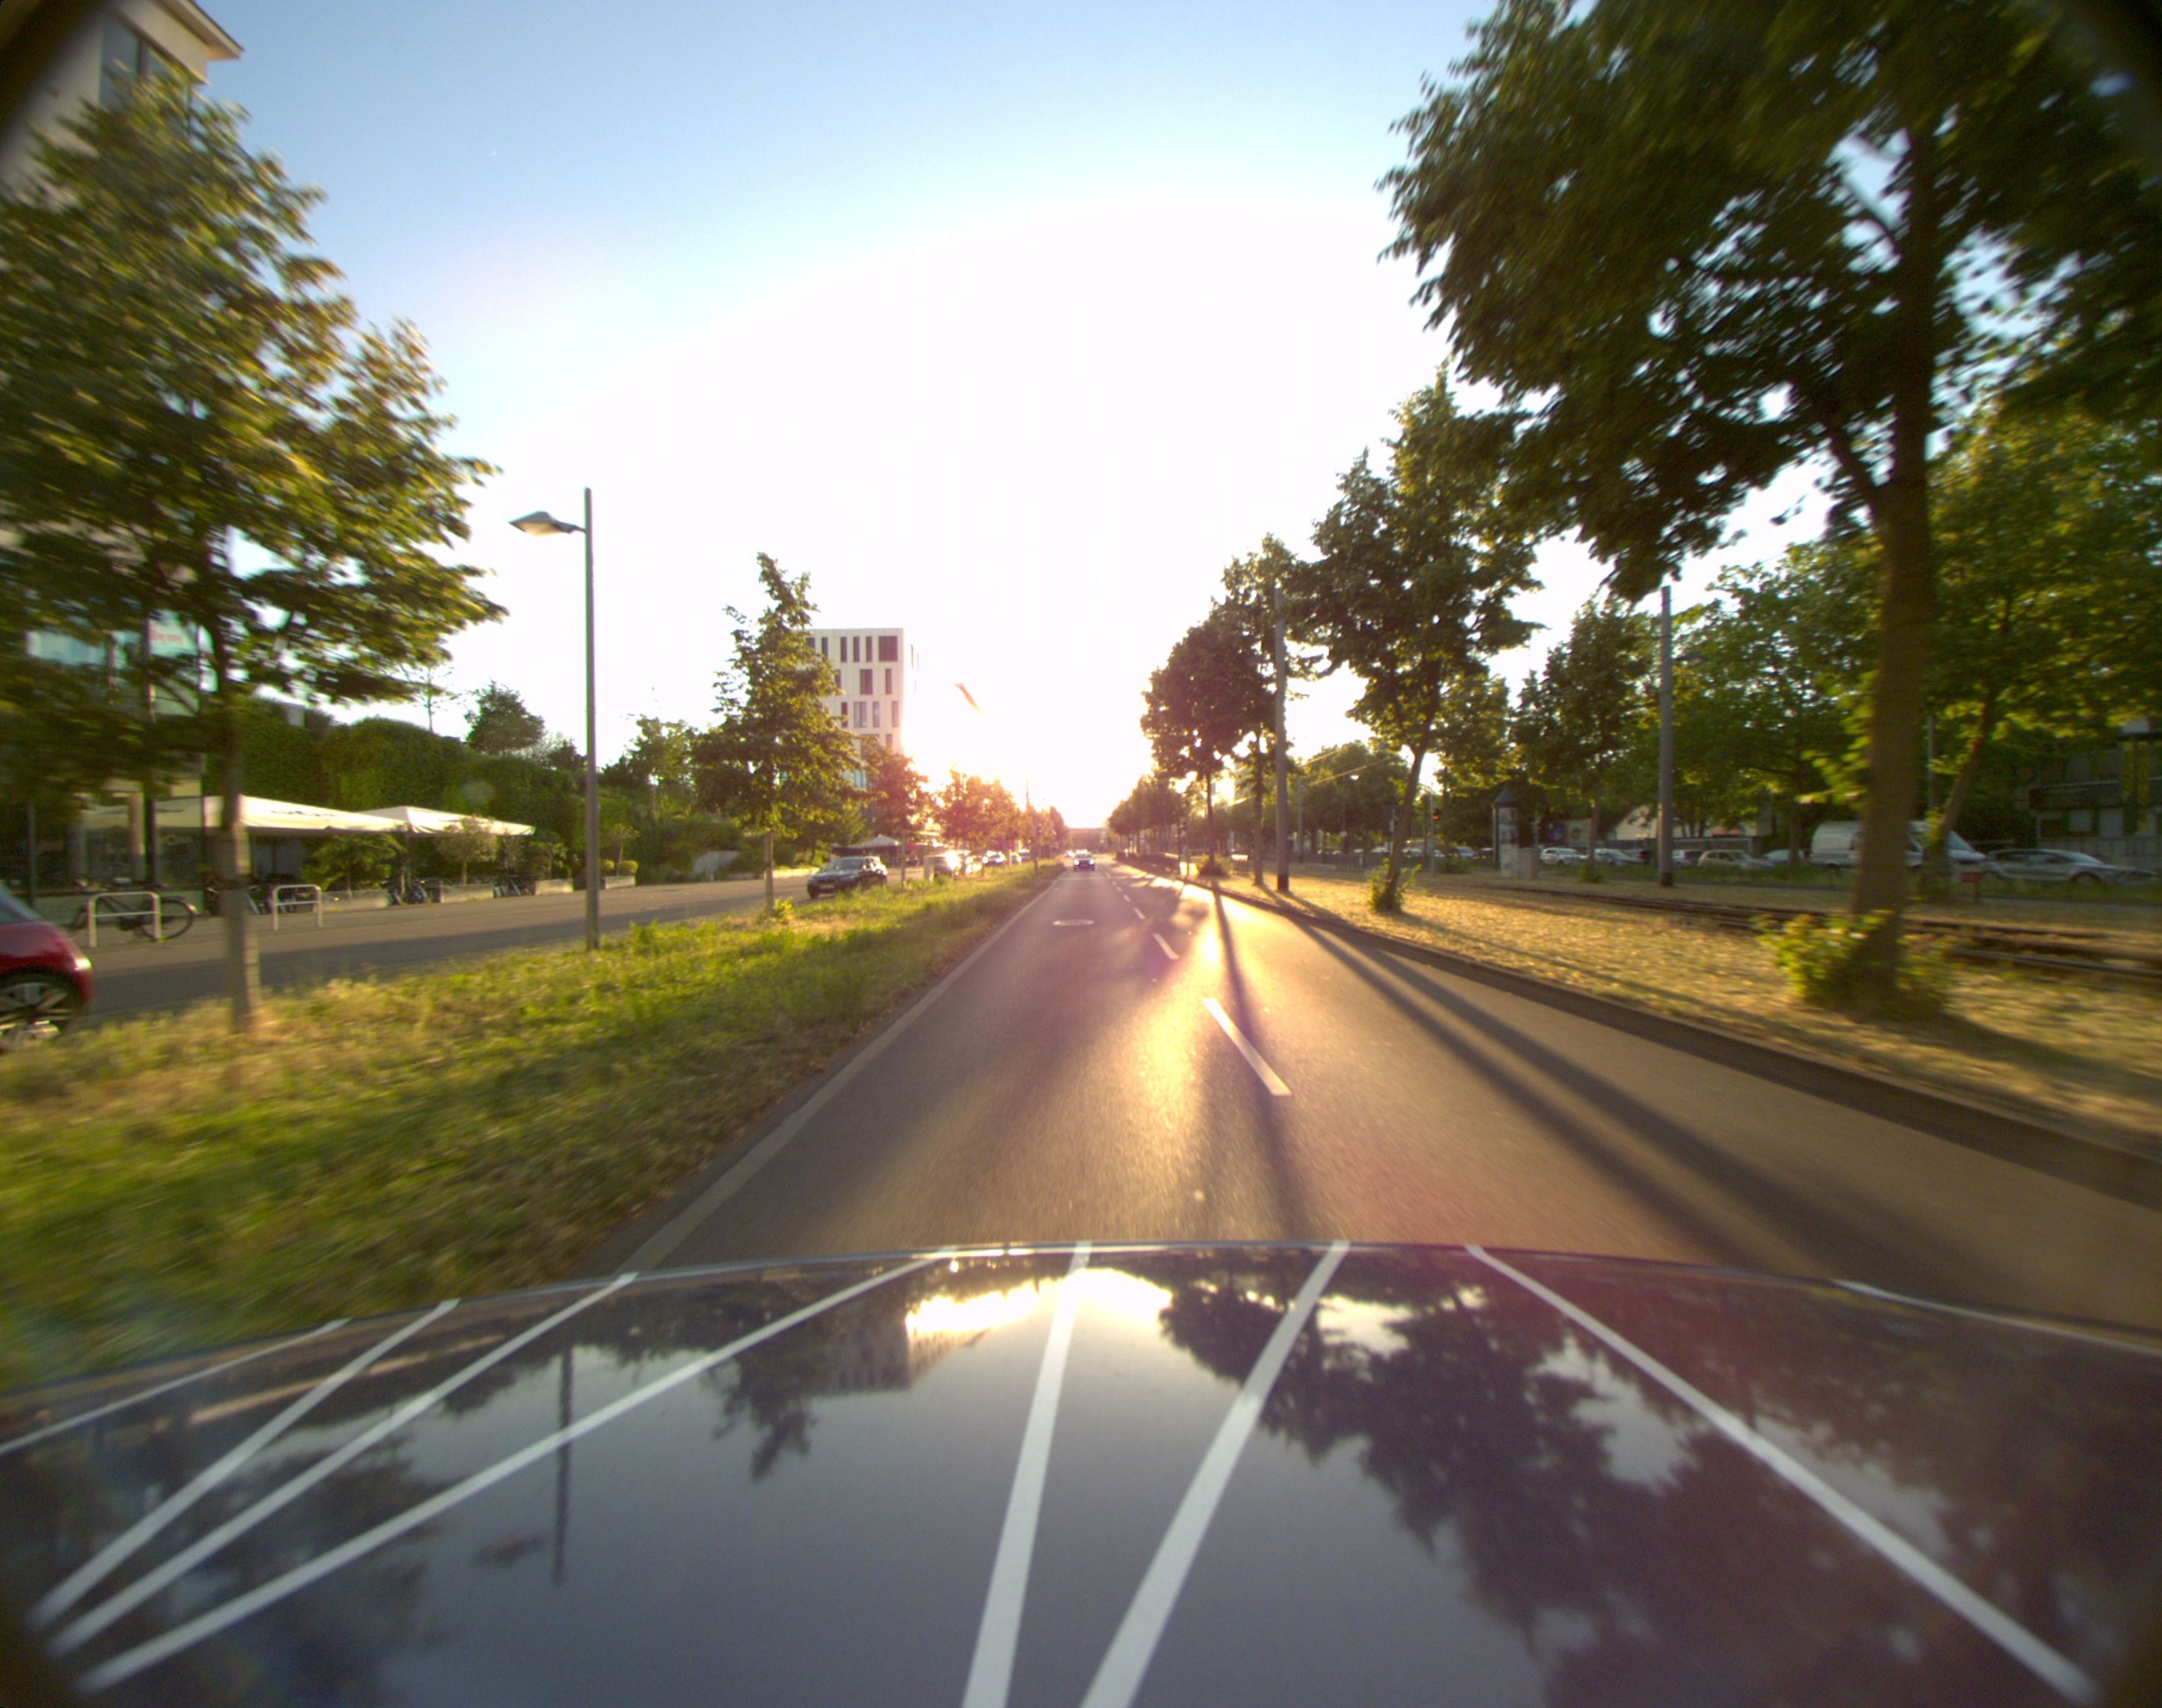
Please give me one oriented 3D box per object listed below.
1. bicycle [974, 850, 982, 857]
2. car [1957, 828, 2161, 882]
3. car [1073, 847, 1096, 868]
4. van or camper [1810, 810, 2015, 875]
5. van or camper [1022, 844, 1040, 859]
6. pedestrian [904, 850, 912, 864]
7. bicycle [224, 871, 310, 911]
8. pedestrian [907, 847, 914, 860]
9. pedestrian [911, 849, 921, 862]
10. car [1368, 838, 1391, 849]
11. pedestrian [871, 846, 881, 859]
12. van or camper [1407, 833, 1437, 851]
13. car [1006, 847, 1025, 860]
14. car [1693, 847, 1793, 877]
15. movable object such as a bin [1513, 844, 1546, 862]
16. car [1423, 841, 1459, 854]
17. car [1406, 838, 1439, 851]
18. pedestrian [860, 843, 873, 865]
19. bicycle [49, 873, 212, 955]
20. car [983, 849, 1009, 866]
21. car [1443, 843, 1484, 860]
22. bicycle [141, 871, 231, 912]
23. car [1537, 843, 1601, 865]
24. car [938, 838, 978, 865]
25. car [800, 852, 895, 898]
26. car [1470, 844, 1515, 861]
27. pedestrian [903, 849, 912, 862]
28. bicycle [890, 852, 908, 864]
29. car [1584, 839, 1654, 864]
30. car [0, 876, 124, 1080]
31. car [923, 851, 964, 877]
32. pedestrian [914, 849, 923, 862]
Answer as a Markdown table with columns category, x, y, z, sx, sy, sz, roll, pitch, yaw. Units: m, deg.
| category | x | y | z | sx | sy | sz | roll | pitch | yaw |
| --- | --- | --- | --- | --- | --- | --- | --- | --- | --- |
| bicycle | -14.589 | -0.087 | 107.705 | 0.530 | 1.035 | 1.919 | 1 | 0 | 12 |
| car | 32.610 | -0.007 | 25.281 | 1.999 | 1.627 | 4.208 | 0 | 1 | -1 |
| car | 0.296 | 0.238 | 61.844 | 1.828 | 1.625 | 3.999 | -1 | 1 | 0 |
| van or camper | 33.314 | -0.459 | 30.803 | 2.289 | 2.351 | 5.784 | -1 | 1 | 5 |
| van or camper | -6.903 | -0.318 | 105.355 | 1.963 | 1.908 | 4.829 | -2 | 1 | 1 |
| pedestrian | -17.515 | 0.329 | 77.118 | 0.745 | 1.360 | 0.770 | -1 | 1 | -11 |
| bicycle | -22.950 | 1.039 | 21.440 | 1.799 | 1.101 | 0.500 | -1 | 1 | -3 |
| pedestrian | -17.710 | -0.029 | 78.889 | 0.685 | 1.283 | 0.628 | 1 | 1 | -12 |
| pedestrian | -16.869 | 0.142 | 77.883 | 0.782 | 1.283 | 0.685 | 2 | 1 | 7 |
| car | 41.790 | -1.445 | 106.456 | 1.998 | 1.521 | 4.001 | -1 | 1 | 5 |
| pedestrian | -20.647 | -0.178 | 76.530 | 0.745 | 1.258 | 0.770 | -1 | 1 | 1 |
| van or camper | 49.187 | -1.742 | 109.798 | 2.396 | 2.548 | 5.635 | 0 | 1 | 7 |
| car | -7.513 | -0.065 | 87.875 | 1.813 | 1.492 | 4.478 | -1 | 1 | 0 |
| car | 36.096 | 0.396 | 41.605 | 1.998 | 1.492 | 4.098 | -1 | 1 | 2 |
| movable object such as a bin | 34.940 | -0.123 | 59.228 | 1.556 | 1.364 | 1.724 | -1 | 1 | 2 |
| car | 37.278 | -0.677 | 78.756 | 1.998 | 1.194 | 4.089 | -1 | 1 | 2 |
| car | 37.593 | -1.066 | 83.682 | 1.998 | 1.400 | 4.000 | -1 | 1 | 3 |
| pedestrian | -16.448 | 0.023 | 58.345 | 0.696 | 1.645 | 1.078 | -1 | 1 | 0 |
| bicycle | -15.831 | 0.962 | 12.732 | 0.618 | 1.224 | 1.670 | -1 | 1 | -1 |
| car | -8.118 | 0.288 | 73.189 | 1.924 | 1.492 | 5.410 | -1 | 1 | 0 |
| car | 36.803 | -0.285 | 73.210 | 1.998 | 1.576 | 4.297 | -1 | 1 | 2 |
| bicycle | -24.957 | 1.031 | 21.201 | 1.799 | 1.101 | 0.500 | -1 | 1 | -3 |
| car | 35.213 | -0.030 | 54.966 | 1.998 | 1.492 | 4.299 | -1 | 1 | 2 |
| car | -8.197 | -0.176 | 50.916 | 1.813 | 1.622 | 4.675 | -5 | 1 | 0 |
| car | -8.404 | 0.706 | 27.751 | 1.812 | 1.492 | 4.369 | -1 | 1 | 4 |
| car | 36.334 | -0.143 | 67.176 | 1.998 | 1.440 | 4.000 | -1 | 1 | 2 |
| pedestrian | -17.828 | 0.132 | 78.060 | 0.664 | 1.283 | 0.683 | 1 | 1 | -32 |
| bicycle | -15.859 | 0.349 | 66.183 | 0.544 | 1.037 | 1.915 | 0 | 1 | 20 |
| car | 34.643 | -0.175 | 49.061 | 1.814 | 1.522 | 4.053 | -1 | 1 | 2 |
| car | -8.956 | 0.958 | 4.386 | 1.813 | 1.492 | 3.959 | -1 | 1 | 0 |
| car | -8.217 | 0.573 | 45.755 | 1.754 | 1.390 | 3.999 | -2 | 1 | 0 |
| pedestrian | -16.838 | 0.131 | 78.684 | 0.776 | 1.283 | 0.685 | 2 | 1 | 7 |
